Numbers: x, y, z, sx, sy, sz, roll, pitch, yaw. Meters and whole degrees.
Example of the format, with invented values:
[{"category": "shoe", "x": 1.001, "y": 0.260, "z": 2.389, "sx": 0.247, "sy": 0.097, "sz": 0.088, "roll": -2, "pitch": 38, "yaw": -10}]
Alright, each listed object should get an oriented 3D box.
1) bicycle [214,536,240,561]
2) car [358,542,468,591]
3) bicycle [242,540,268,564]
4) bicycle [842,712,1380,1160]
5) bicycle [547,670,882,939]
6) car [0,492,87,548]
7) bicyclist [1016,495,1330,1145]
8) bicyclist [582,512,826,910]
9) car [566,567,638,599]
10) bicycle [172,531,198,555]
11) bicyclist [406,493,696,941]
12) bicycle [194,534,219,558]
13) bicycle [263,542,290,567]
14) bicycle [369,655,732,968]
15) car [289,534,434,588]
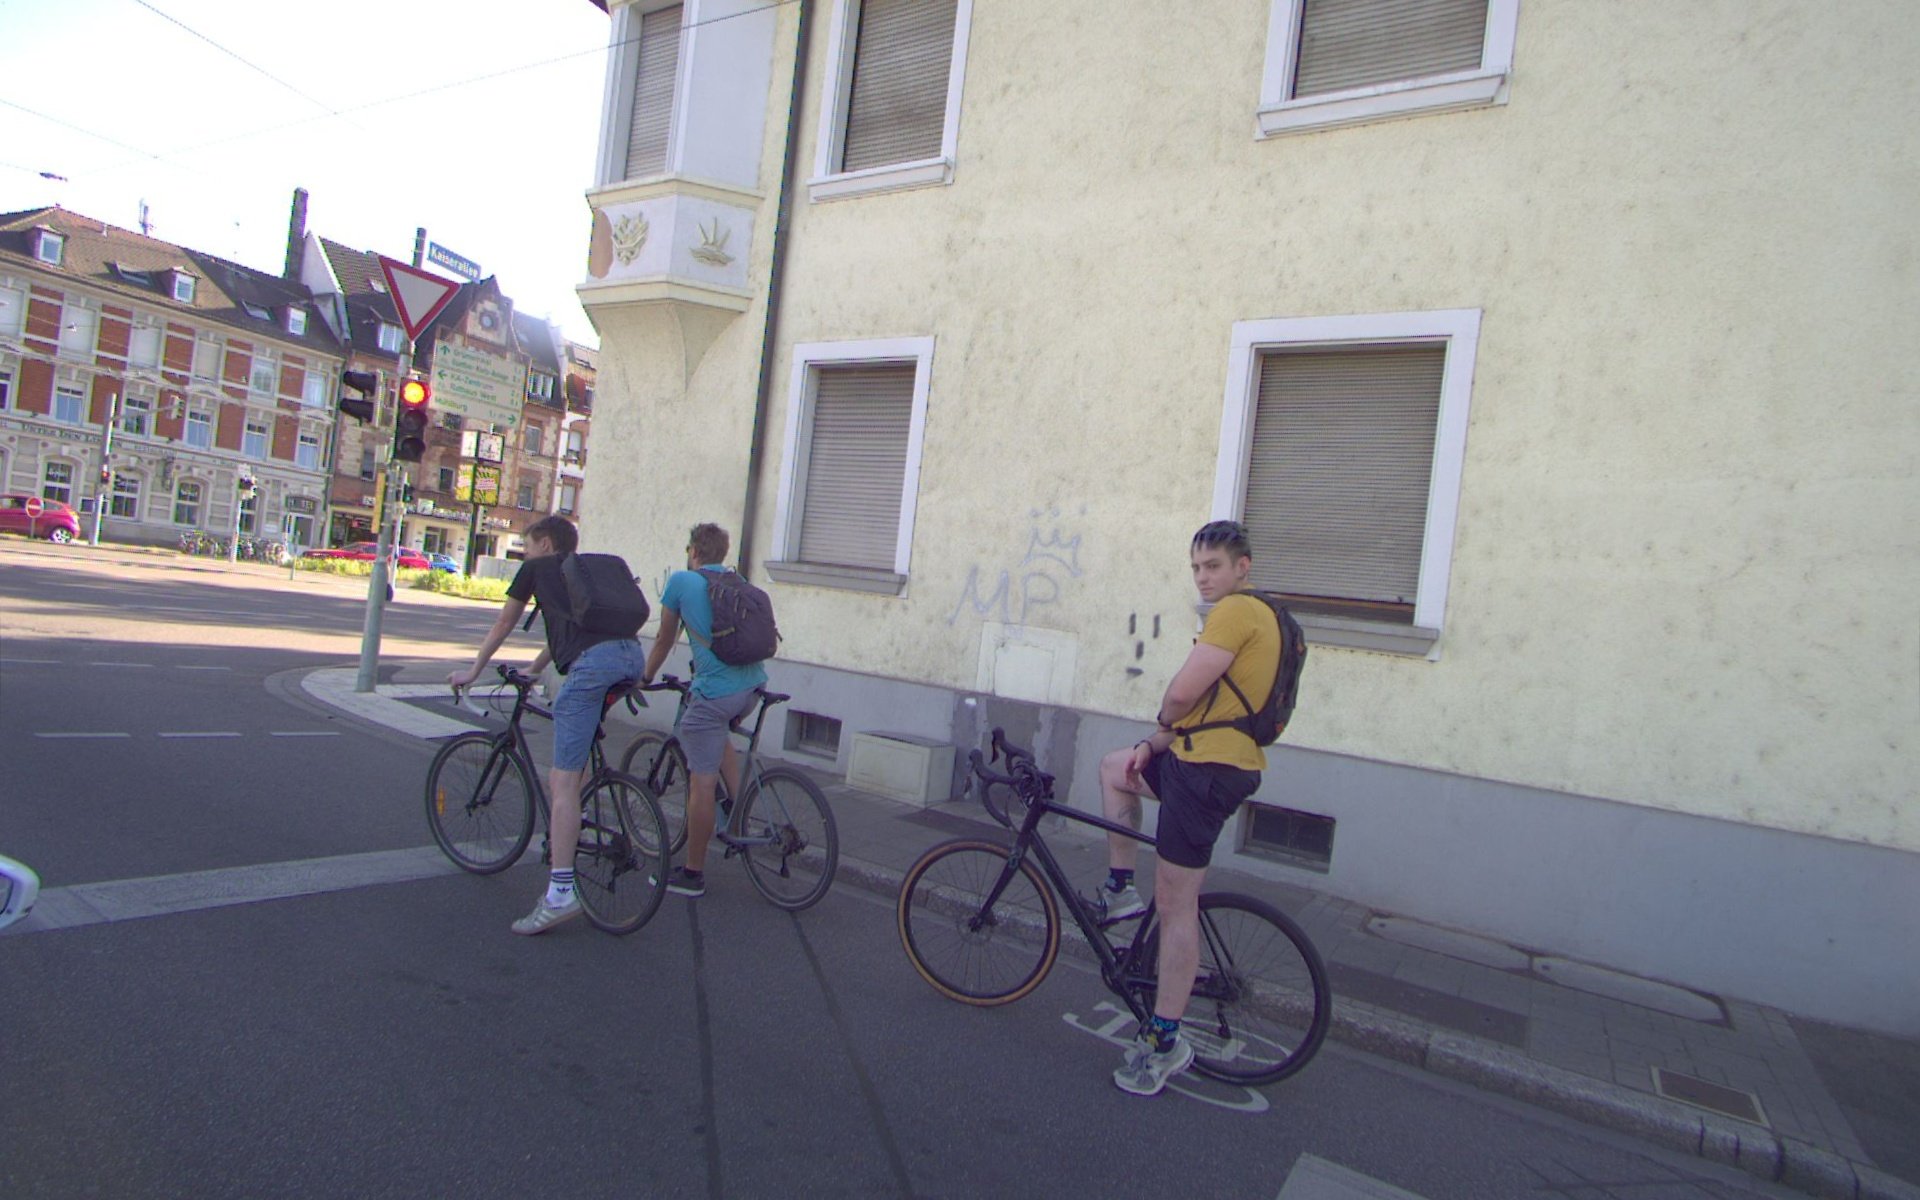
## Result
[{"category": "bicycle", "x": -34.257, "y": -2.411, "z": 47.017, "sx": 0.762, "sy": 0.995, "sz": 2.186, "roll": 8, "pitch": -2, "yaw": -39}, {"category": "car", "x": -25.433, "y": -1.542, "z": 46.884, "sx": 1.775, "sy": 1.641, "sz": 3.994, "roll": 6, "pitch": -2, "yaw": 33}, {"category": "bicycle", "x": -33.619, "y": -2.301, "z": 47.976, "sx": 0.762, "sy": 1.019, "sz": 2.196, "roll": 8, "pitch": -2, "yaw": -39}, {"category": "bicycle", "x": 0.562, "y": 1.130, "z": 3.807, "sx": 1.709, "sy": 1.119, "sz": 0.783, "roll": 7, "pitch": -1, "yaw": 18}, {"category": "bicycle", "x": -1.312, "y": 0.980, "z": 5.215, "sx": 1.753, "sy": 0.995, "sz": 0.504, "roll": 6, "pitch": -1, "yaw": 32}, {"category": "car", "x": -30.634, "y": -2.712, "z": 32.037, "sx": 1.567, "sy": 1.443, "sz": 3.880, "roll": 8, "pitch": -1, "yaw": 27}, {"category": "bicyclist", "x": 0.794, "y": 0.704, "z": 3.651, "sx": 0.763, "sy": 1.990, "sz": 0.783, "roll": 7, "pitch": 0, "yaw": 18}, {"category": "bicyclist", "x": -1.345, "y": 0.531, "z": 5.271, "sx": 0.960, "sy": 1.868, "sz": 0.504, "roll": 6, "pitch": -1, "yaw": 32}, {"category": "car", "x": -23.149, "y": -1.084, "z": 65.128, "sx": 1.842, "sy": 1.454, "sz": 3.985, "roll": 6, "pitch": -2, "yaw": 35}, {"category": "bicycle", "x": -35.325, "y": -2.600, "z": 45.832, "sx": 0.762, "sy": 0.974, "sz": 2.186, "roll": 8, "pitch": -2, "yaw": -39}, {"category": "bicyclist", "x": -1.847, "y": 0.473, "z": 4.551, "sx": 0.920, "sy": 1.787, "sz": 0.590, "roll": 6, "pitch": -1, "yaw": 32}, {"category": "bicycle", "x": -34.754, "y": -2.502, "z": 46.394, "sx": 0.762, "sy": 0.979, "sz": 2.186, "roll": 8, "pitch": -2, "yaw": -39}, {"category": "bicycle", "x": -33.027, "y": -2.199, "z": 48.588, "sx": 0.789, "sy": 1.027, "sz": 2.186, "roll": 8, "pitch": -2, "yaw": -39}, {"category": "bicycle", "x": -1.896, "y": 0.865, "z": 4.548, "sx": 1.753, "sy": 1.003, "sz": 0.482, "roll": 6, "pitch": -1, "yaw": 32}, {"category": "car", "x": -24.993, "y": -1.596, "z": 42.203, "sx": 1.774, "sy": 1.487, "sz": 4.866, "roll": 8, "pitch": -1, "yaw": 32}]
